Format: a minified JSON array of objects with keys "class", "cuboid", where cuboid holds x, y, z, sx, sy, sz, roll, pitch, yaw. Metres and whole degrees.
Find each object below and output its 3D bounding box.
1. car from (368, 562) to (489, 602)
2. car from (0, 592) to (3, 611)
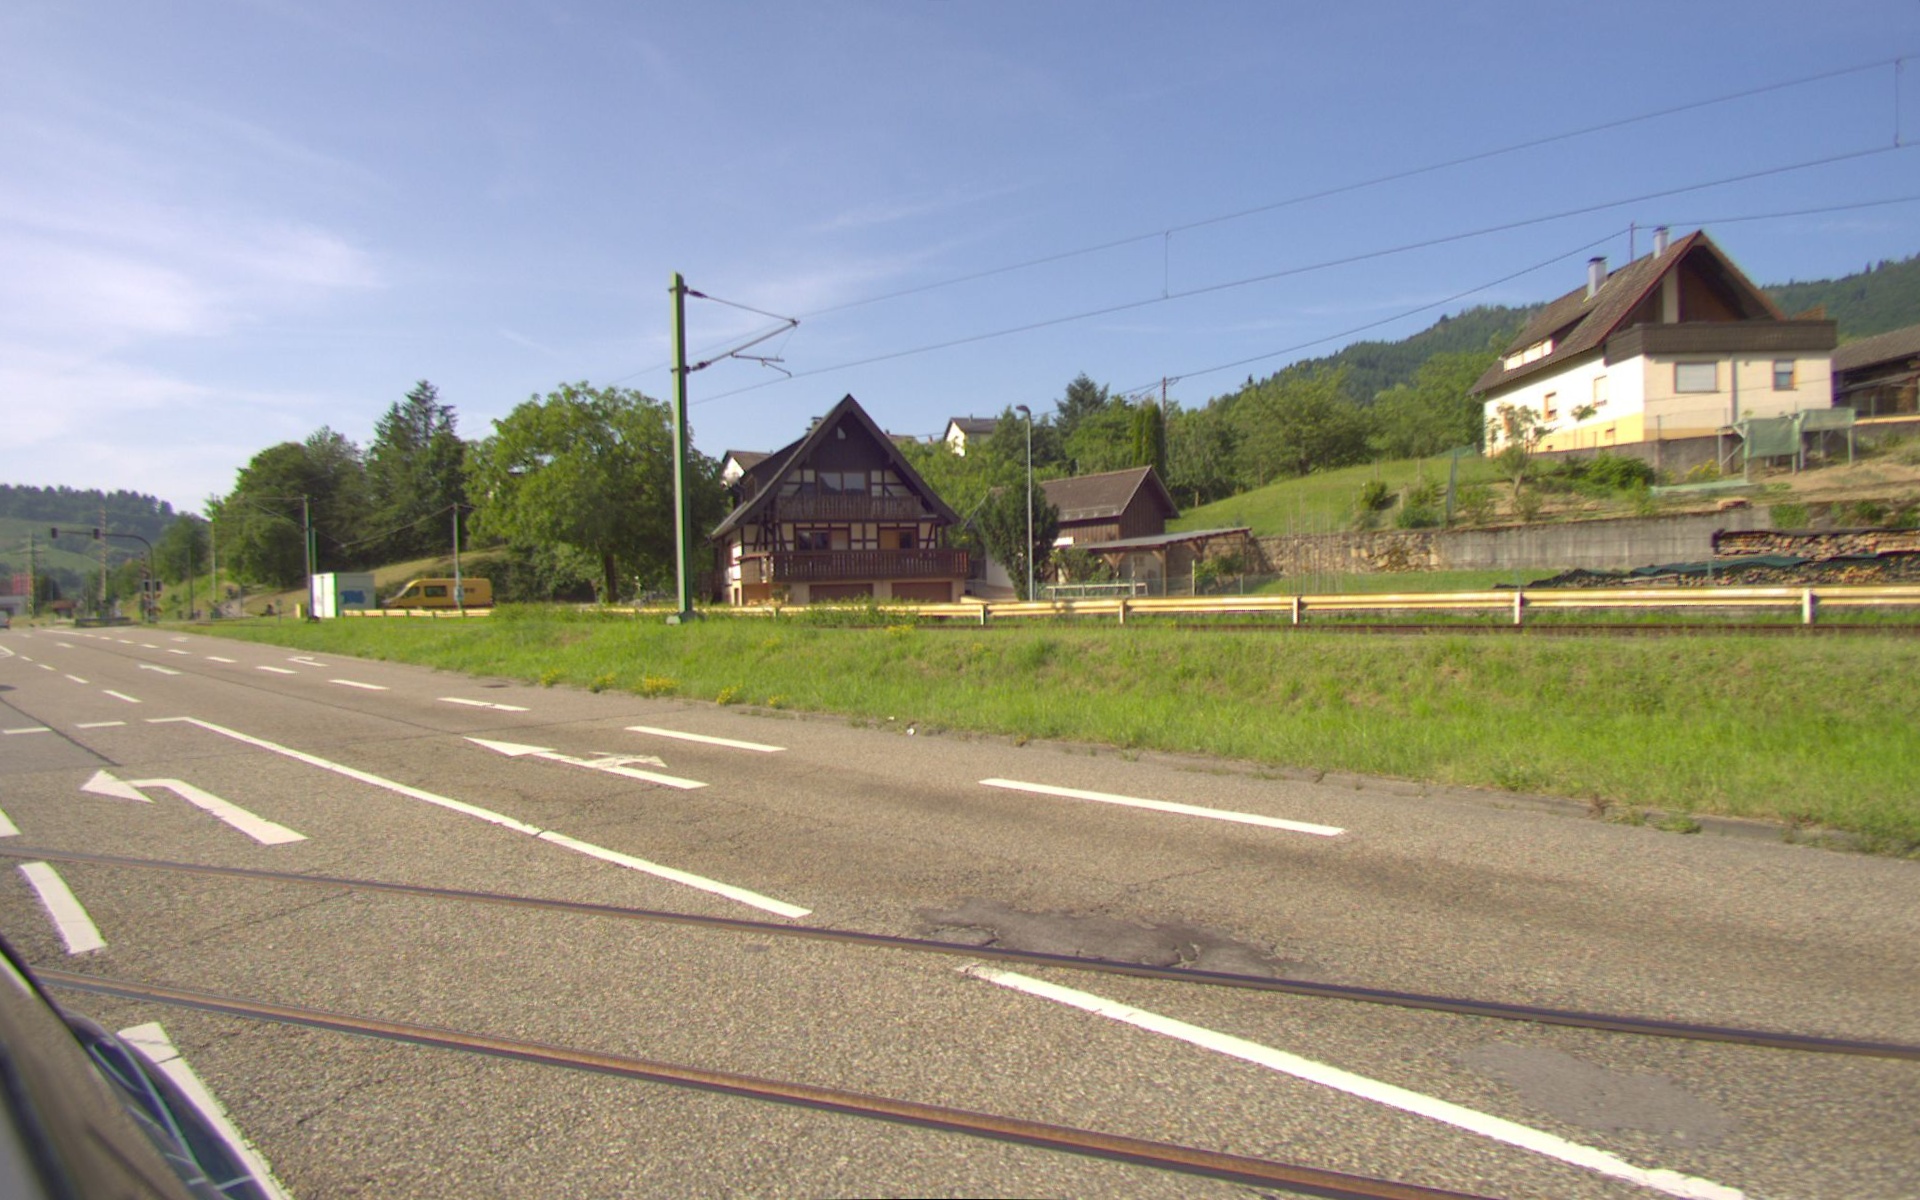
[{"class":"car","cuboid":[-36.463,-1.274,69.553,6.972,2.475,2.955,-3,1,-36]},{"class":"car","cuboid":[-125.410,0.283,130.920,2.095,2.454,5.231,-3,1,-44]}]
